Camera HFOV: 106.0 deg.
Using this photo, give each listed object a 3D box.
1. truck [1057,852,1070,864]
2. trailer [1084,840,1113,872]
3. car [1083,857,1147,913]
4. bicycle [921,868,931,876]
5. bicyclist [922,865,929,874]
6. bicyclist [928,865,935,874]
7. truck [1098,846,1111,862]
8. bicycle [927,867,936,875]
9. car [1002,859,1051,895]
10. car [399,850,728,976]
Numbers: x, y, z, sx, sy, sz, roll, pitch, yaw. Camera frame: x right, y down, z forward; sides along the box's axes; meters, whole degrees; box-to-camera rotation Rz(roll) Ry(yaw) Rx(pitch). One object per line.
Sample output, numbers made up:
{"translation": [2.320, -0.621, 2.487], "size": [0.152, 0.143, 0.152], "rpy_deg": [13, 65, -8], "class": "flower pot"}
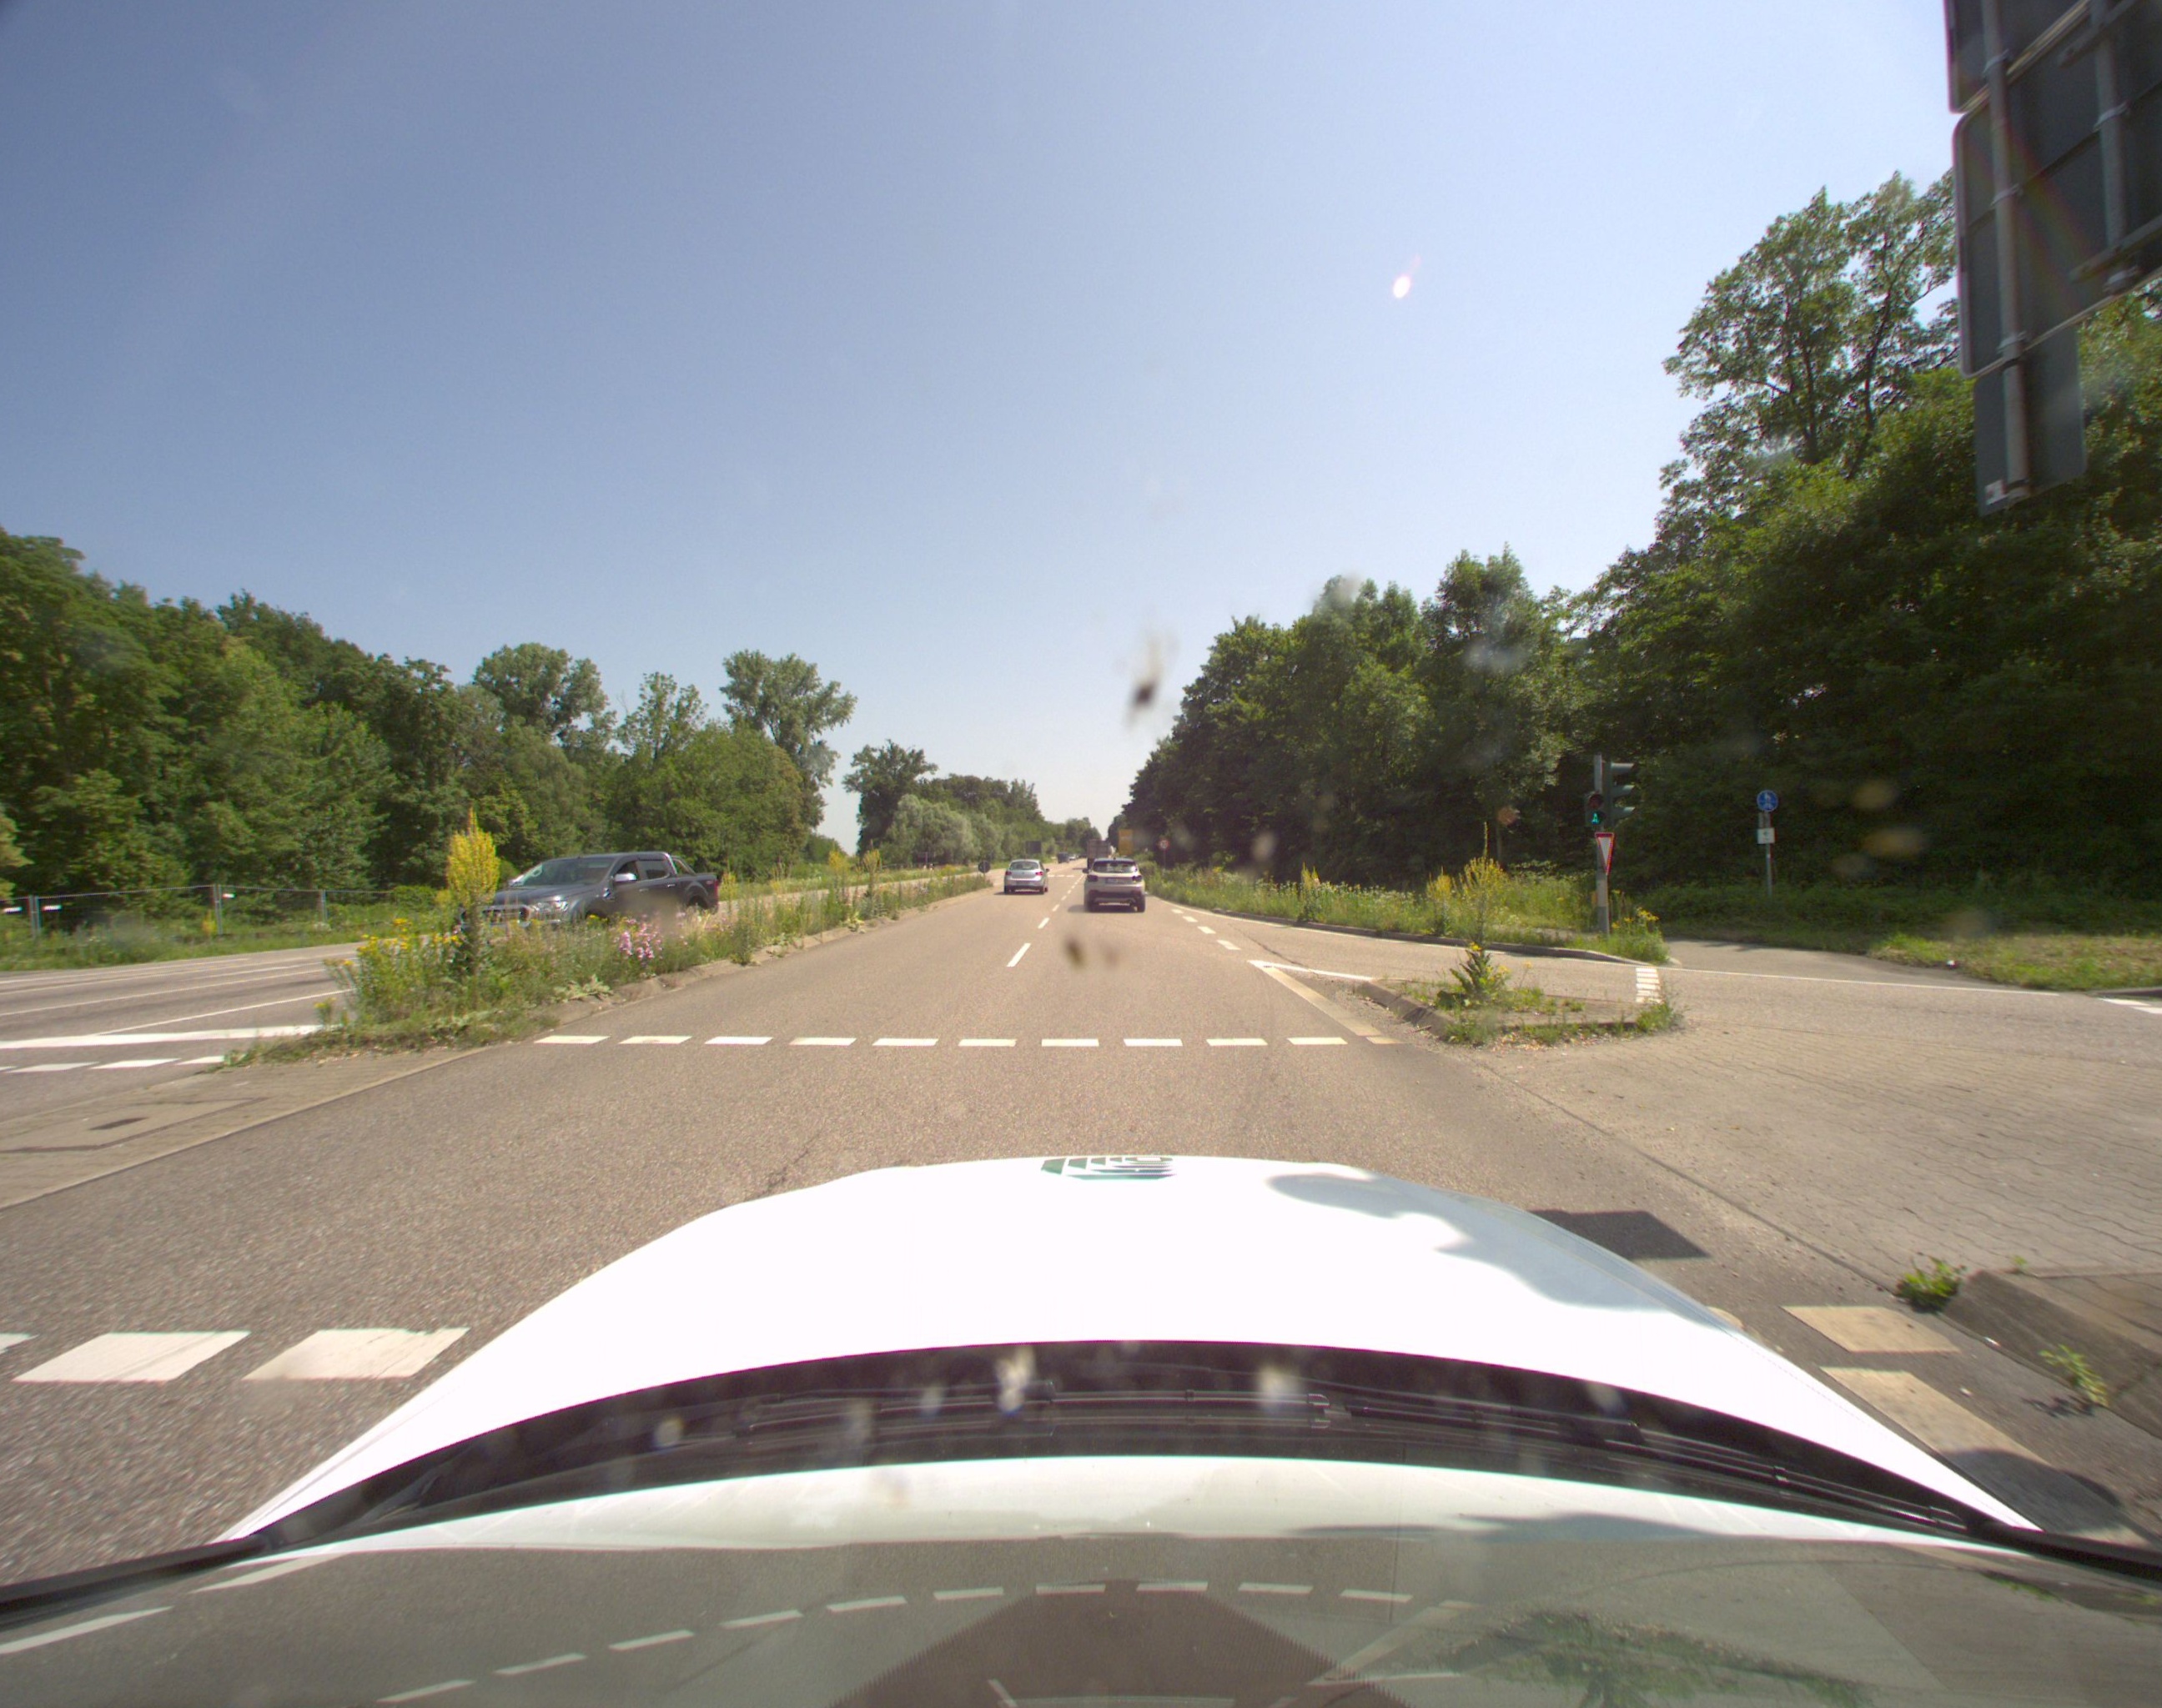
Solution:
{"translation": [-4.028, 0.904, 186.783], "size": [2.445, 2.656, 6.494], "rpy_deg": [-4, 0, 2], "class": "truck"}
{"translation": [2.403, 0.329, 107.131], "size": [3.368, 3.989, 10.812], "rpy_deg": [0, -1, 3], "class": "trailer"}
{"translation": [1.047, 0.872, 24.721], "size": [1.760, 1.535, 4.003], "rpy_deg": [-1, 0, 3], "class": "car"}
{"translation": [-20.917, 2.388, 109.722], "size": [0.671, 1.005, 1.806], "rpy_deg": [-3, 0, 12], "class": "bicycle"}
{"translation": [-20.948, 2.104, 109.679], "size": [0.752, 1.195, 0.594], "rpy_deg": [-3, -1, 12], "class": "bicyclist"}
{"translation": [-20.838, 2.142, 113.377], "size": [0.730, 1.195, 0.594], "rpy_deg": [-3, -1, 13], "class": "bicyclist"}
{"translation": [6.312, 0.156, 220.320], "size": [3.484, 4.188, 10.786], "rpy_deg": [0, -1, 1], "class": "truck"}
{"translation": [-20.849, 2.402, 113.479], "size": [0.600, 1.006, 1.561], "rpy_deg": [-3, -1, 13], "class": "bicycle"}
{"translation": [-2.251, 0.947, 34.636], "size": [1.659, 1.430, 3.830], "rpy_deg": [0, 0, 3], "class": "car"}
{"translation": [-8.391, 0.839, 14.046], "size": [1.985, 1.678, 5.369], "rpy_deg": [-3, 0, 3], "class": "car"}
